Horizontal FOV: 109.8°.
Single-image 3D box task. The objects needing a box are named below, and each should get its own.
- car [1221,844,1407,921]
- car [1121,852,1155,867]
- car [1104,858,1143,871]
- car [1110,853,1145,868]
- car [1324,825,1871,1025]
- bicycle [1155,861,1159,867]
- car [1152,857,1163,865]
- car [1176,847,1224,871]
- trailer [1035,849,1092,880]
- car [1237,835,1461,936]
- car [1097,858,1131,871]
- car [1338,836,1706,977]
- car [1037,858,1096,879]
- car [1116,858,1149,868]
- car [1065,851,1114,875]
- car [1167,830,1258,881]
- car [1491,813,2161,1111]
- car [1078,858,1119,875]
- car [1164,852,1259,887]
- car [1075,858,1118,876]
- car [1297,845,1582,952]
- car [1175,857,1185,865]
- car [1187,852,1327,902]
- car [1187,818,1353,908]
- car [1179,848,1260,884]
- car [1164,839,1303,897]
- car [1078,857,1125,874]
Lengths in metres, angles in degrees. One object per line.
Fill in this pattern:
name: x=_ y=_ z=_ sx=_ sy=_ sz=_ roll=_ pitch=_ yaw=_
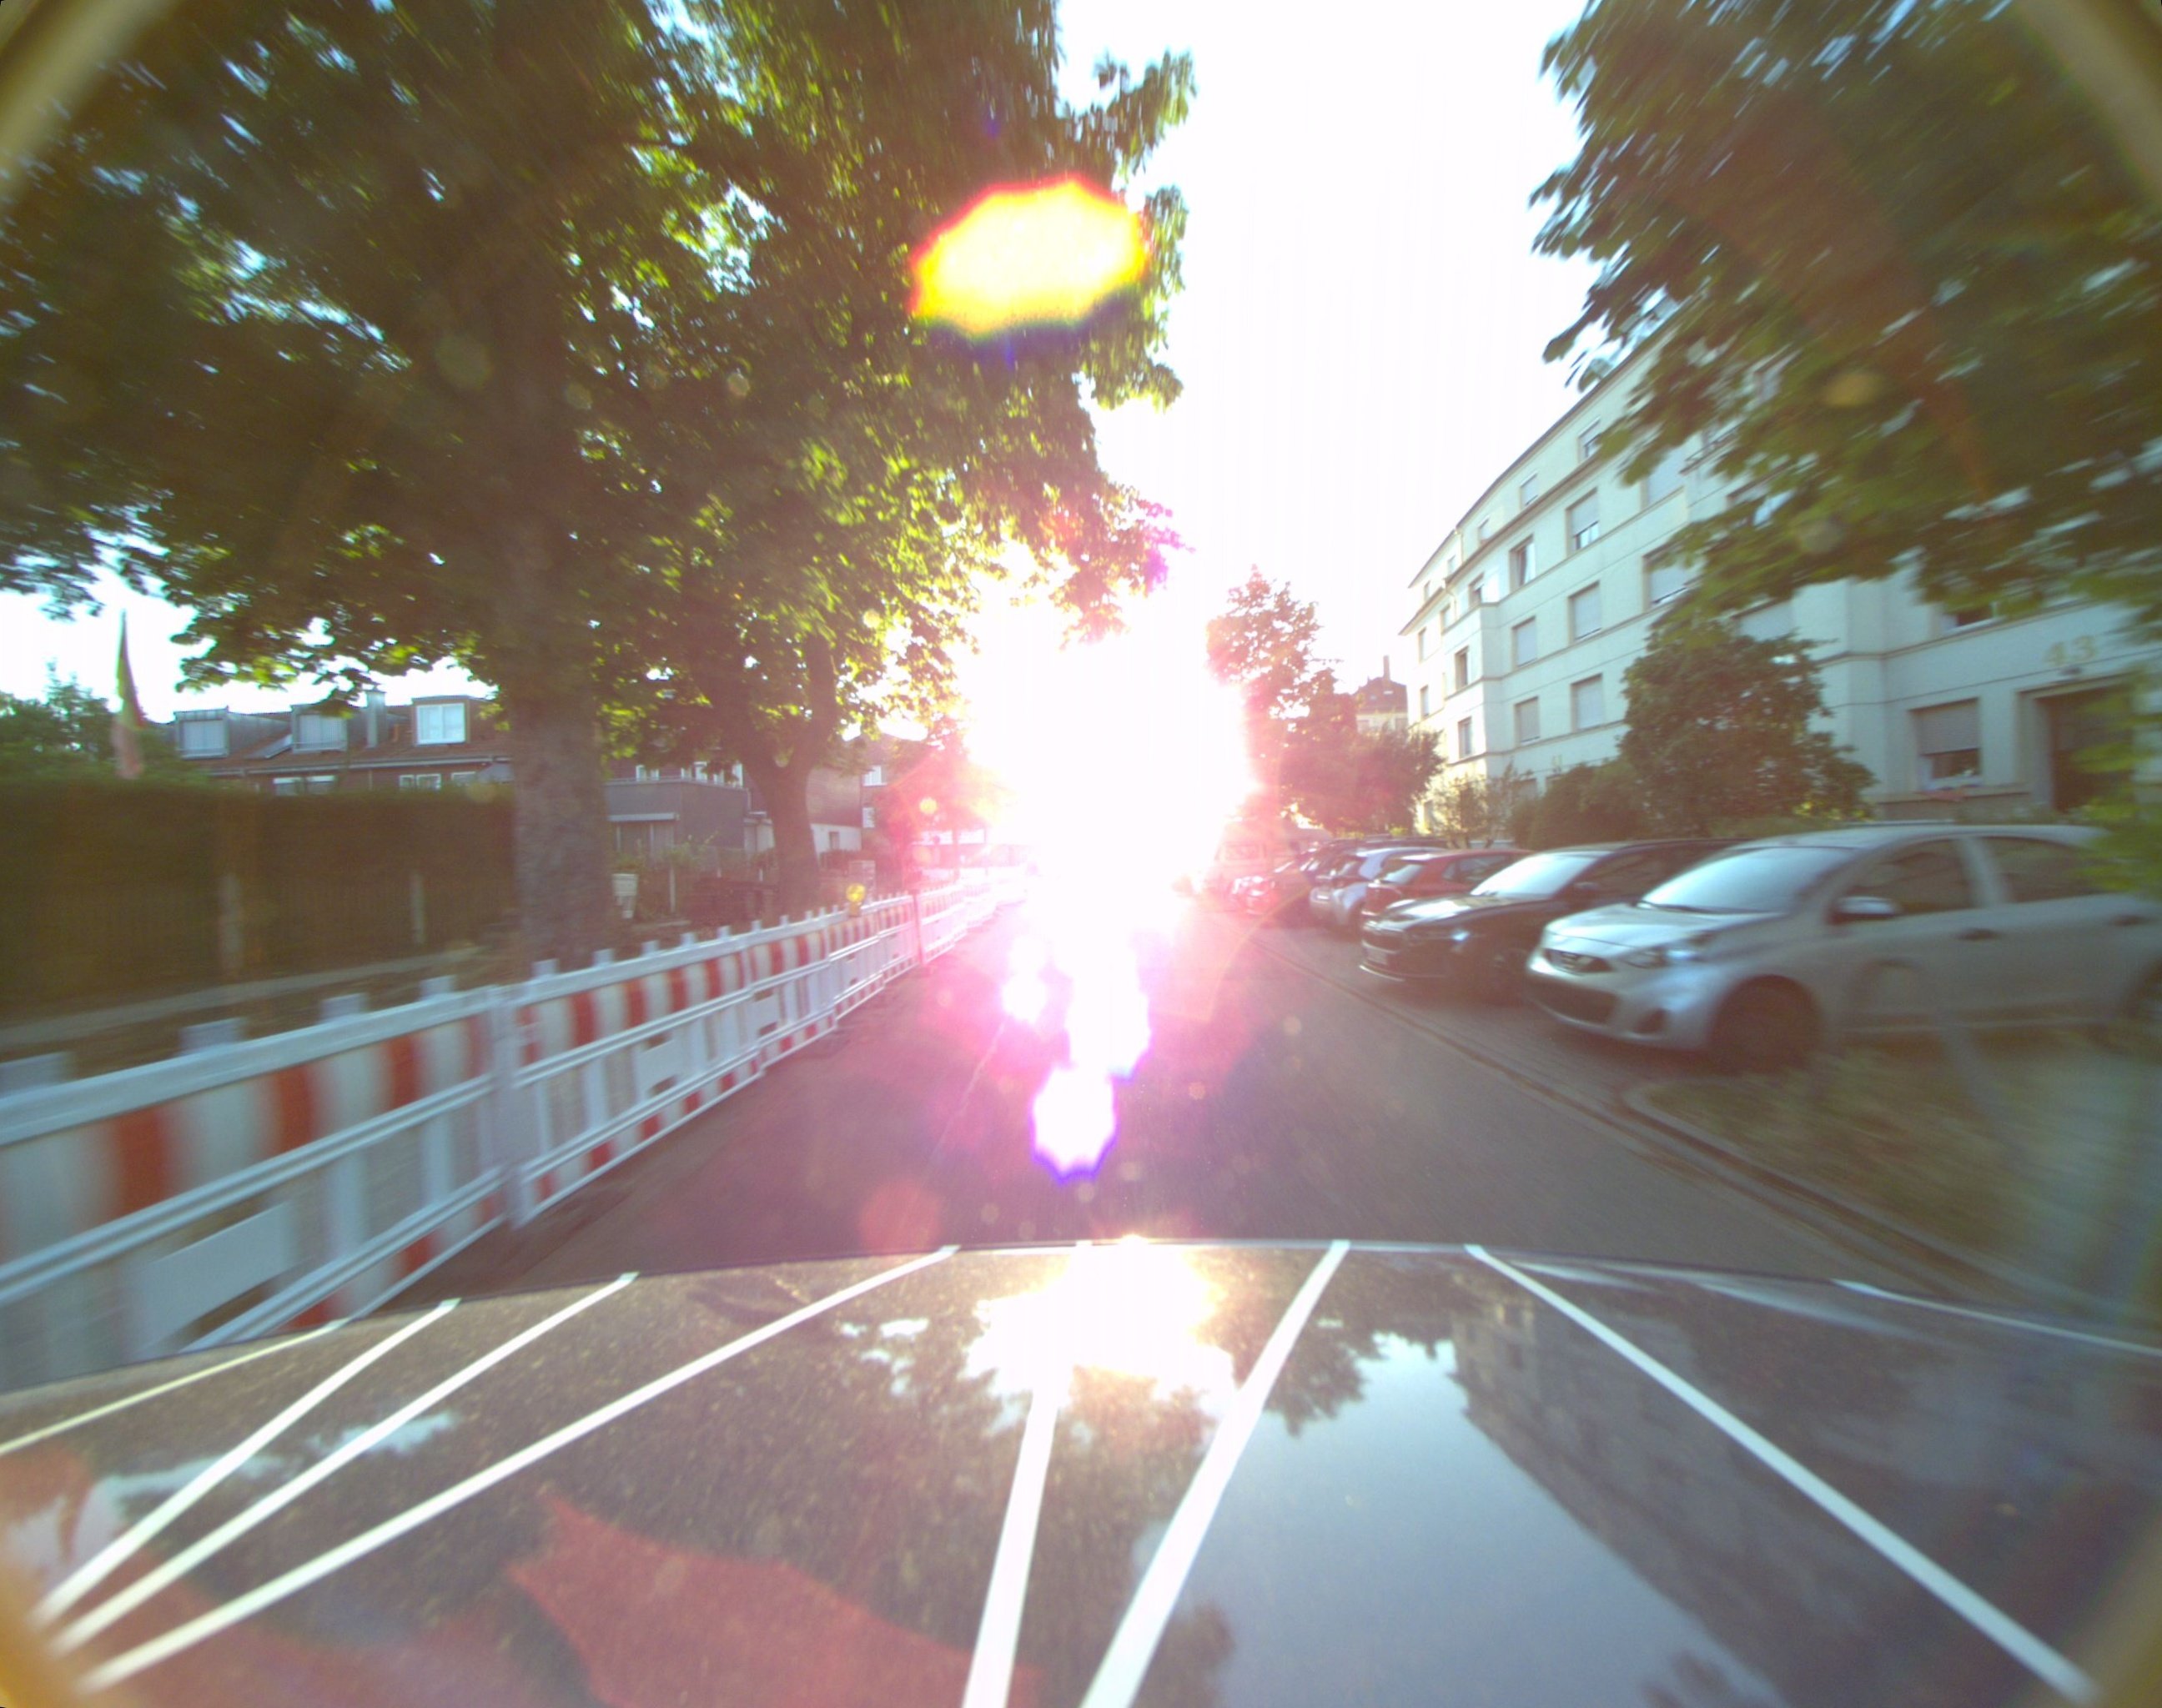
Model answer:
car: x=5.455 y=0.665 z=18.179 sx=3.869 sy=1.585 sz=1.786 roll=-3 pitch=0 yaw=3
car: x=8.983 y=0.811 z=119.677 sx=4.967 sy=2.089 sz=2.153 roll=-3 pitch=1 yaw=15
car: x=5.572 y=1.362 z=99.440 sx=4.702 sy=1.622 sz=2.002 roll=1 pitch=0 yaw=12
car: x=6.409 y=0.916 z=104.508 sx=4.594 sy=1.851 sz=2.014 roll=2 pitch=1 yaw=12
car: x=5.067 y=0.639 z=7.880 sx=4.419 sy=1.605 sz=1.899 roll=-3 pitch=0 yaw=-4
bicycle: x=12.622 y=1.659 z=126.004 sx=0.357 sy=1.017 sz=1.973 roll=-3 pitch=0 yaw=10
car: x=14.848 y=1.343 z=147.774 sx=1.798 sy=1.515 sz=4.003 roll=-3 pitch=0 yaw=10
car: x=12.225 y=0.555 z=77.921 sx=4.520 sy=2.057 sz=2.002 roll=-5 pitch=-2 yaw=13
trailer: x=-1.319 y=0.807 z=57.966 sx=3.994 sy=2.174 sz=2.001 roll=-3 pitch=0 yaw=9
car: x=5.359 y=0.615 z=15.580 sx=3.870 sy=1.766 sz=1.843 roll=-3 pitch=0 yaw=-1
car: x=4.163 y=1.339 z=94.927 sx=3.993 sy=1.537 sz=1.846 roll=1 pitch=0 yaw=10
car: x=5.830 y=0.653 z=10.342 sx=3.998 sy=1.574 sz=1.731 roll=-3 pitch=0 yaw=-4
car: x=-1.113 y=1.138 z=61.109 sx=4.435 sy=1.490 sz=1.775 roll=-3 pitch=0 yaw=9
car: x=7.820 y=1.400 z=114.240 sx=4.729 sy=1.487 sz=2.002 roll=0 pitch=0 yaw=10
car: x=0.794 y=0.787 z=66.770 sx=3.994 sy=1.892 sz=2.001 roll=-3 pitch=0 yaw=9
car: x=7.224 y=0.081 z=42.082 sx=4.741 sy=2.554 sz=2.001 roll=-3 pitch=0 yaw=6
car: x=5.379 y=0.598 z=5.344 sx=3.998 sy=1.569 sz=1.801 roll=-3 pitch=0 yaw=-4
car: x=1.781 y=1.246 z=76.846 sx=3.994 sy=1.609 sz=1.896 roll=0 pitch=0 yaw=8
car: x=6.134 y=0.718 z=35.870 sx=4.252 sy=1.386 sz=1.685 roll=-3 pitch=0 yaw=8
car: x=1.564 y=1.285 z=74.734 sx=3.953 sy=1.556 sz=1.822 roll=-3 pitch=0 yaw=7
car: x=5.984 y=0.709 z=12.998 sx=3.998 sy=1.515 sz=1.789 roll=-3 pitch=0 yaw=-3
car: x=19.130 y=1.359 z=146.702 sx=1.731 sy=1.367 sz=3.766 roll=-3 pitch=0 yaw=10
car: x=5.750 y=0.752 z=25.278 sx=4.185 sy=1.416 sz=2.000 roll=-3 pitch=0 yaw=2
car: x=5.600 y=0.267 z=22.997 sx=4.512 sy=2.416 sz=2.001 roll=-3 pitch=0 yaw=4
car: x=6.969 y=0.618 z=38.575 sx=3.811 sy=1.513 sz=1.653 roll=-4 pitch=0 yaw=6
car: x=5.534 y=0.513 z=27.983 sx=4.684 sy=1.862 sz=2.000 roll=-3 pitch=0 yaw=2
car: x=2.229 y=1.288 z=82.273 sx=4.794 sy=1.743 sz=2.019 roll=1 pitch=-1 yaw=9
